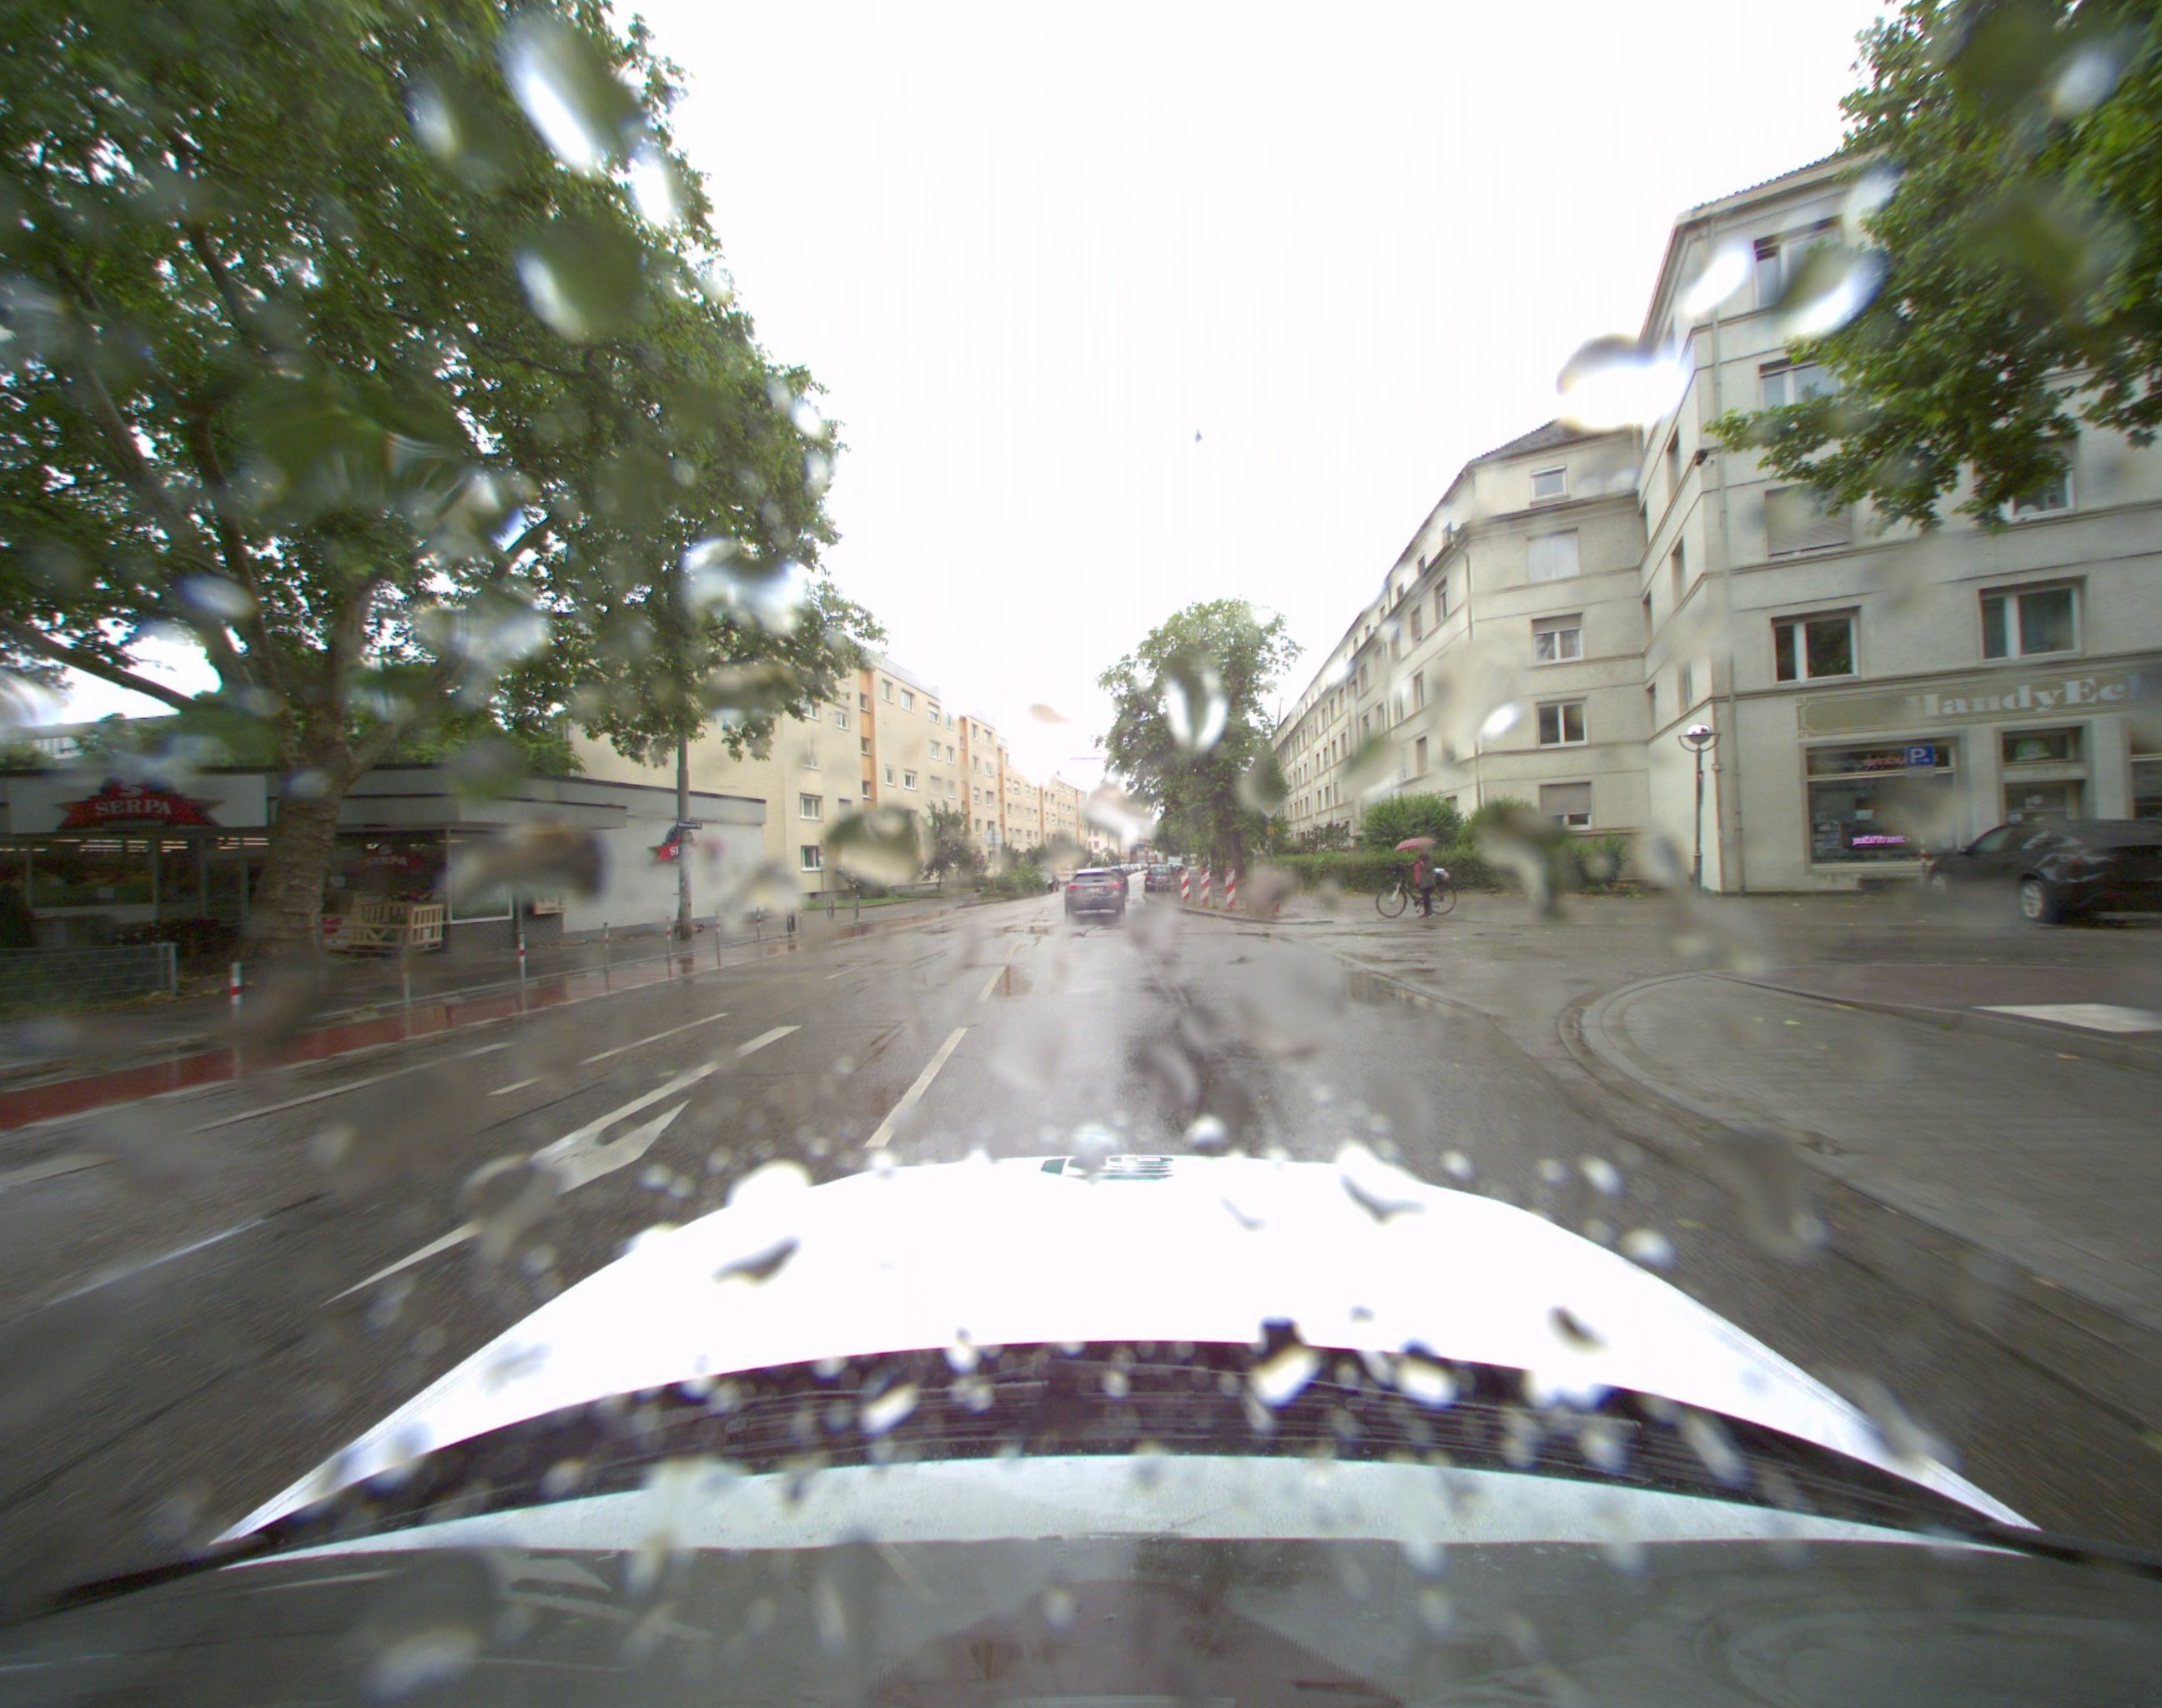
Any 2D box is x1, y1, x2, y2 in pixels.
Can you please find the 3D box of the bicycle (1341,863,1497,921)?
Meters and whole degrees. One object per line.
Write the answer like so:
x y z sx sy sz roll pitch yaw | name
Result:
7.511 0.814 18.103 3.212 1.112 1.049 -2 -1 -16 | bicycle

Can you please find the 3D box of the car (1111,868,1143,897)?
2.462 1.468 43.516 1.600 1.372 4.003 -3 -1 3 | car

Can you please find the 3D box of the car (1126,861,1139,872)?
8.666 2.134 137.143 1.879 1.836 4.008 -3 -1 7 | car

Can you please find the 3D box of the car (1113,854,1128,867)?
5.845 1.018 120.347 1.879 1.836 4.008 -3 -1 7 | car

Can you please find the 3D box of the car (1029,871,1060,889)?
-2.680 1.934 60.419 1.580 1.206 3.467 -3 -1 8 | car

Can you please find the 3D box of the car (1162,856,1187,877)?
7.570 1.023 65.955 1.879 1.574 4.008 -3 -1 7 | car

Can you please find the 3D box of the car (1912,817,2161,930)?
16.613 0.289 13.893 1.975 1.628 4.657 0 0 26 | car

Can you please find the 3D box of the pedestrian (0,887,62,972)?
-20.919 1.488 16.161 0.569 1.629 0.639 -2 -1 -11 | pedestrian

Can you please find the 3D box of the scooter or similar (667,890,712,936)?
-11.625 1.725 24.198 0.435 1.266 1.379 -3 -1 10 | scooter or similar

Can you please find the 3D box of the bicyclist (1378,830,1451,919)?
7.361 0.439 18.019 0.940 1.868 1.137 -2 -1 -15 | bicyclist

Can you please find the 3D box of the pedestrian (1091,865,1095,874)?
1.898 2.408 127.205 0.525 1.357 0.587 -1 -2 11 | pedestrian

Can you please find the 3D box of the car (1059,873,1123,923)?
0.370 1.299 25.118 1.783 1.372 3.509 -1 -1 3 | car

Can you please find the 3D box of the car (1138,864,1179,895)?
4.195 1.372 44.780 1.986 1.574 4.002 -2 -1 2 | car

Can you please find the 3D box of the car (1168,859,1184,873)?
13.161 1.620 112.384 2.035 1.836 4.801 -3 -1 7 | car

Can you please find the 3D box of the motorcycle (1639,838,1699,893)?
16.073 0.294 22.341 0.867 1.392 3.023 -3 -1 28 | motorcycle
